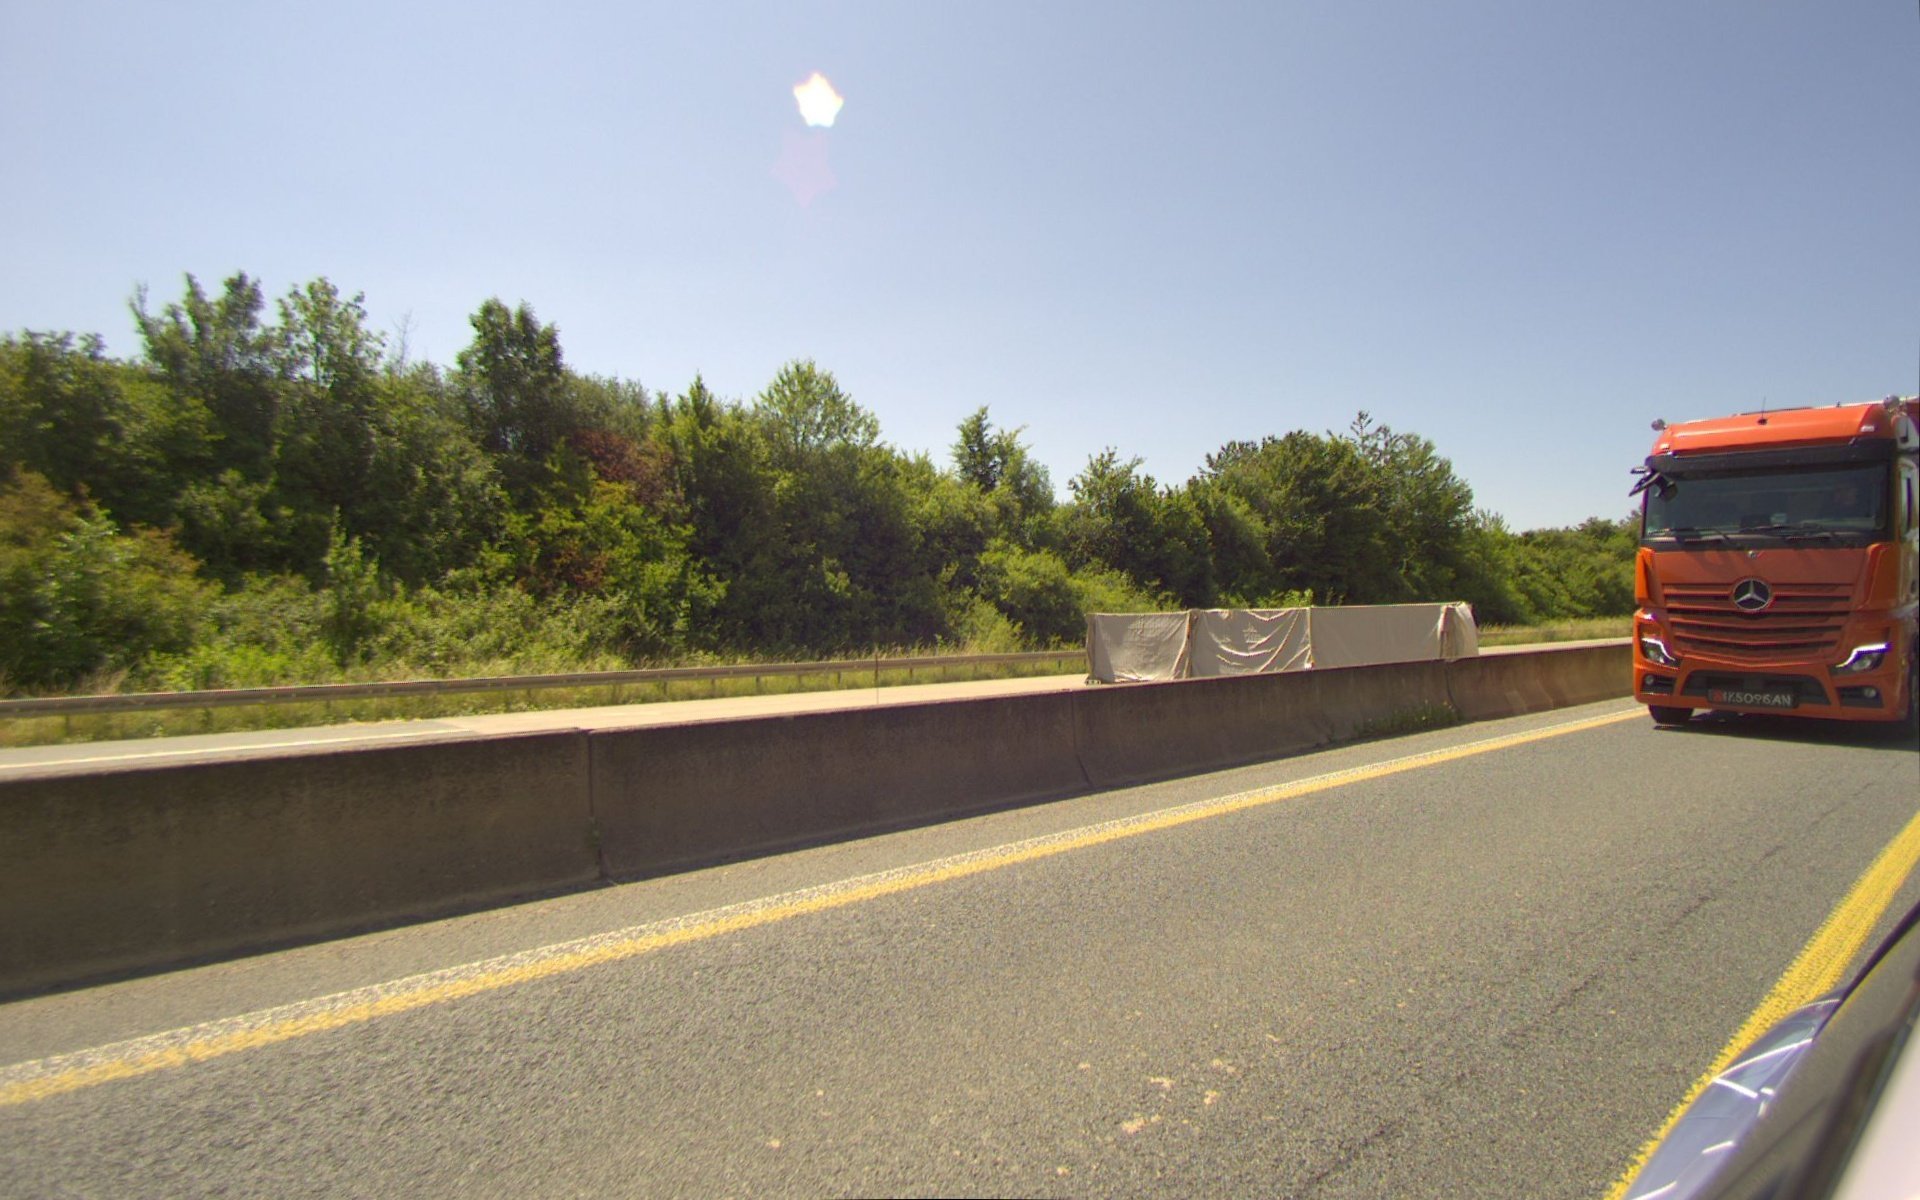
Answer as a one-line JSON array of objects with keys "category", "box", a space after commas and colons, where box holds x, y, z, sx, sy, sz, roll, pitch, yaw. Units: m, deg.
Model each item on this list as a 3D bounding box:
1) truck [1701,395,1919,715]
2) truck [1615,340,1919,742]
[{"category": "truck", "box": [16.415, -0.568, 17.827, 12.989, 4.061, 2.686, 0, -1, -41]}, {"category": "truck", "box": [11.334, -0.582, 13.389, 6.606, 4.061, 2.687, 0, -1, -40]}]
